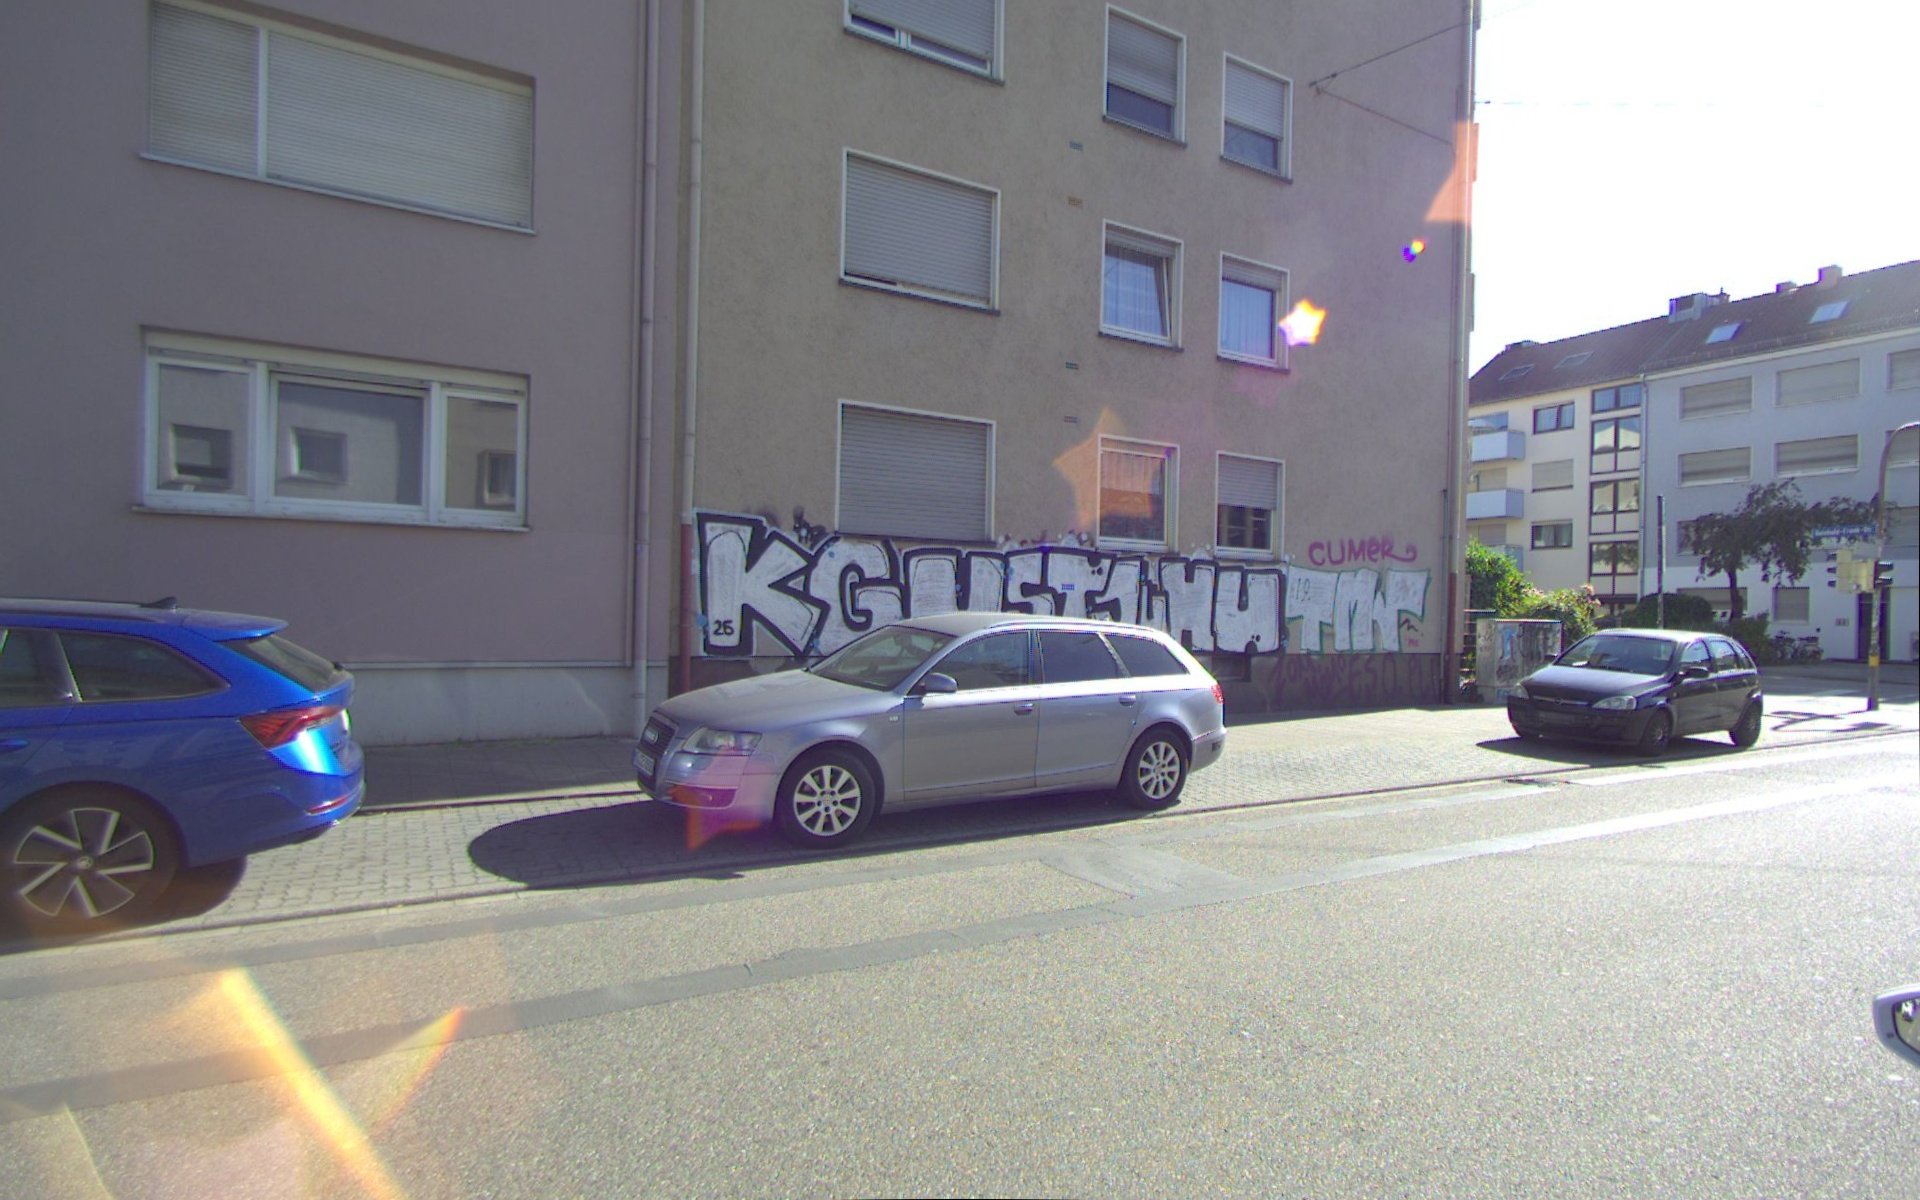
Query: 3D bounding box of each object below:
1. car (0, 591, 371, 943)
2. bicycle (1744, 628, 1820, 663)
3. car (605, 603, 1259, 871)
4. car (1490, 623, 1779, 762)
[{"bbox_3d":[-5.381,0.706,4.619,4.559,1.485,1.709,1,1,-31],"label":"car"},{"bbox_3d":[29.802,1.640,36.460,2.068,1.188,0.738,0,-1,37],"label":"bicycle"},{"bbox_3d":[-0.065,0.832,7.673,4.759,1.485,1.708,1,1,-31],"label":"car"},{"bbox_3d":[8.639,1.086,12.813,3.667,1.444,1.608,1,2,-31],"label":"car"}]
